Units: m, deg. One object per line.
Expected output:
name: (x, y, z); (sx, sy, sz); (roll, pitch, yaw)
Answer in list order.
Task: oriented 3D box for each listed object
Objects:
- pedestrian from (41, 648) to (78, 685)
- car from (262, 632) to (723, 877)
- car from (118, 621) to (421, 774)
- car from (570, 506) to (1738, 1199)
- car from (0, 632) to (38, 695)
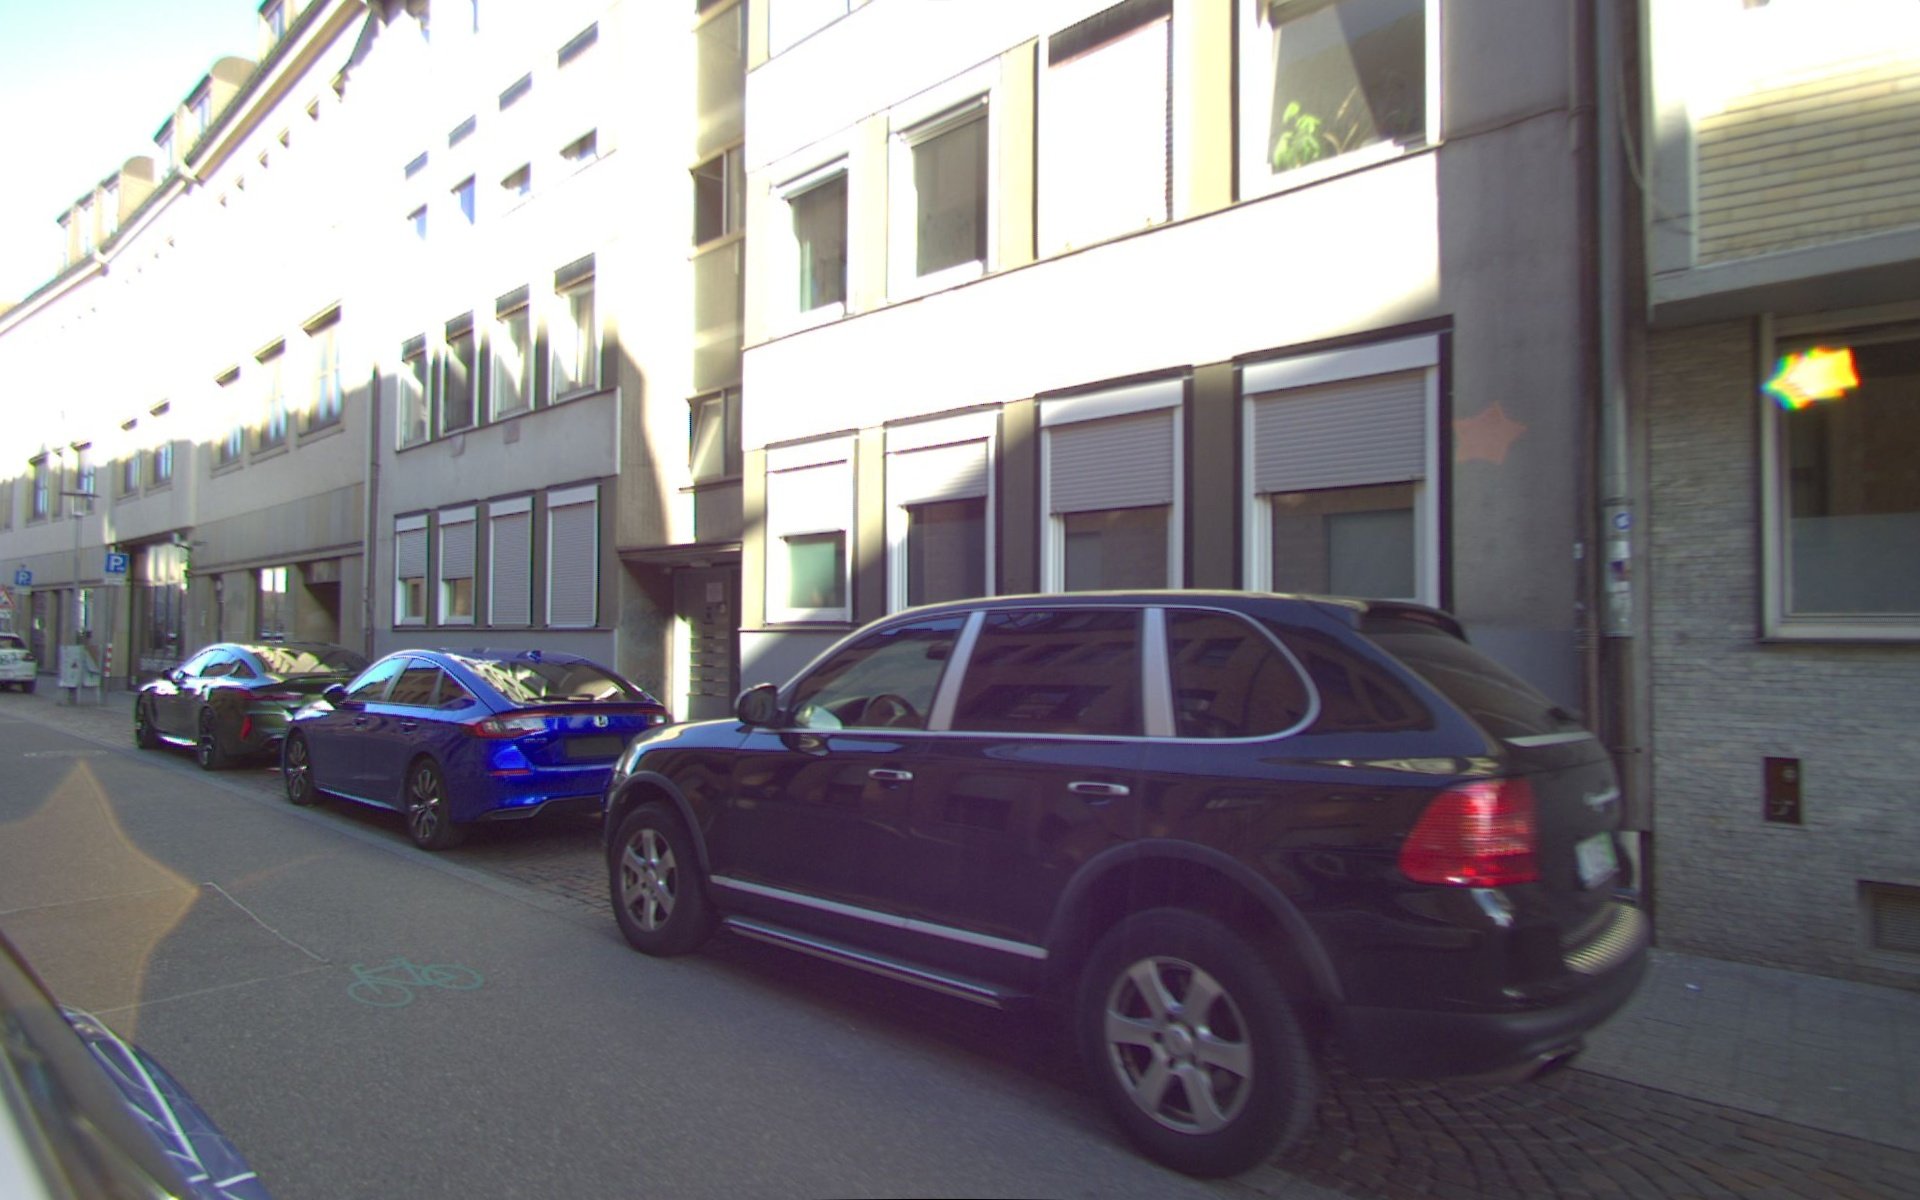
pedestrian: (-26.168, 1.922, 29.406); (0.615, 1.043, 0.650); (-1, -2, 33)
car: (-4.092, 1.059, 8.537); (4.336, 1.542, 1.870); (-2, -3, 40)
car: (-8.664, 1.070, 12.520); (4.725, 1.542, 1.870); (-1, -4, 40)
car: (0.352, 0.734, 4.307); (4.552, 1.688, 1.870); (-2, -3, 42)
car: (-25.207, 1.579, 25.859); (3.768, 1.534, 1.654); (-1, -5, 36)
